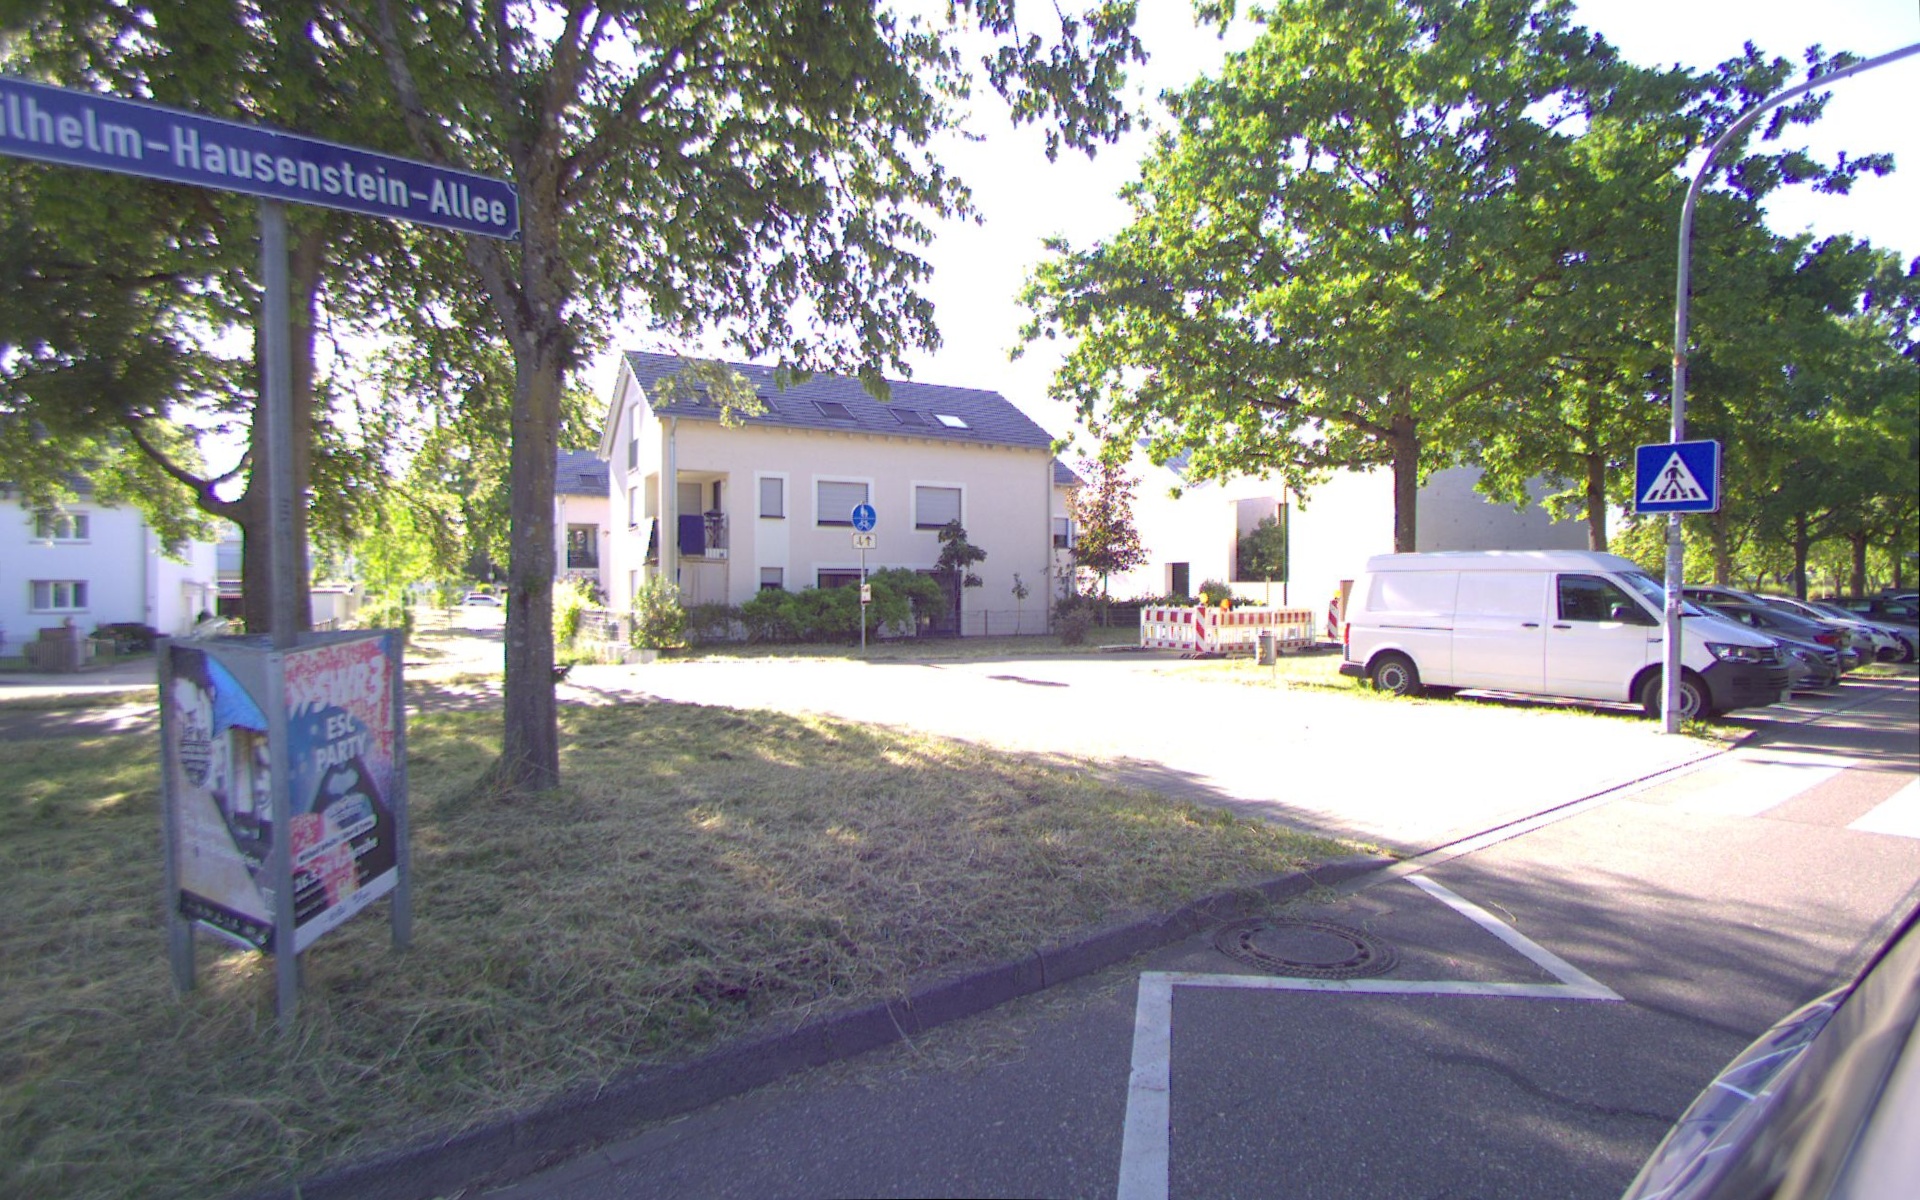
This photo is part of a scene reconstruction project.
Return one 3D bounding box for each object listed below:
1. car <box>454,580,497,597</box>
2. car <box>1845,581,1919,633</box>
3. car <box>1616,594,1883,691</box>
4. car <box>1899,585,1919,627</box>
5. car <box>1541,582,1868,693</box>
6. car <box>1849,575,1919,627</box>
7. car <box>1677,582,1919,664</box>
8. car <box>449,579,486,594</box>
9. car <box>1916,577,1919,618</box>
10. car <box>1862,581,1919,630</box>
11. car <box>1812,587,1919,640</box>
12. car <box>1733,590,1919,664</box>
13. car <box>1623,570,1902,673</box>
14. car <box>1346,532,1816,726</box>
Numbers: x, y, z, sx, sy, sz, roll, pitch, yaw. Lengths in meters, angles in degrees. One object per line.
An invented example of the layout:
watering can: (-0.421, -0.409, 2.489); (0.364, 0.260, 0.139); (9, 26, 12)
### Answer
car: (-62.366, -1.475, 130.301); (4.543, 2.039, 1.995); (0, 0, -43)
car: (32.939, 0.230, 34.162); (1.504, 1.765, 4.396); (0, 0, -37)
car: (13.992, 0.690, 18.097); (1.421, 1.561, 3.517); (0, 0, -37)
car: (41.431, 0.233, 41.259); (1.504, 1.765, 4.396); (0, 0, -37)
car: (12.007, 0.534, 16.560); (1.725, 1.583, 3.997); (0, 0, -37)
car: (37.902, 0.031, 39.627); (1.504, 2.013, 4.396); (0, 0, -37)
car: (18.987, 0.490, 23.088); (1.504, 1.700, 4.020); (0, 0, -37)
car: (-68.373, -1.932, 140.537); (4.524, 2.039, 2.003); (0, 0, -24)
car: (43.439, -0.107, 42.640); (1.504, 1.765, 4.396); (0, 0, -37)
car: (36.023, 0.194, 36.968); (1.504, 1.765, 4.396); (0, 0, -37)
car: (30.387, 0.434, 32.523); (1.504, 1.662, 4.396); (0, 0, -37)
car: (21.511, 0.610, 24.641); (1.504, 1.681, 4.020); (0, 0, -37)
car: (15.697, 0.380, 19.979); (1.681, 1.816, 4.020); (0, 0, -37)
car: (8.006, 0.266, 13.564); (1.857, 2.107, 5.045); (0, 1, -39)
